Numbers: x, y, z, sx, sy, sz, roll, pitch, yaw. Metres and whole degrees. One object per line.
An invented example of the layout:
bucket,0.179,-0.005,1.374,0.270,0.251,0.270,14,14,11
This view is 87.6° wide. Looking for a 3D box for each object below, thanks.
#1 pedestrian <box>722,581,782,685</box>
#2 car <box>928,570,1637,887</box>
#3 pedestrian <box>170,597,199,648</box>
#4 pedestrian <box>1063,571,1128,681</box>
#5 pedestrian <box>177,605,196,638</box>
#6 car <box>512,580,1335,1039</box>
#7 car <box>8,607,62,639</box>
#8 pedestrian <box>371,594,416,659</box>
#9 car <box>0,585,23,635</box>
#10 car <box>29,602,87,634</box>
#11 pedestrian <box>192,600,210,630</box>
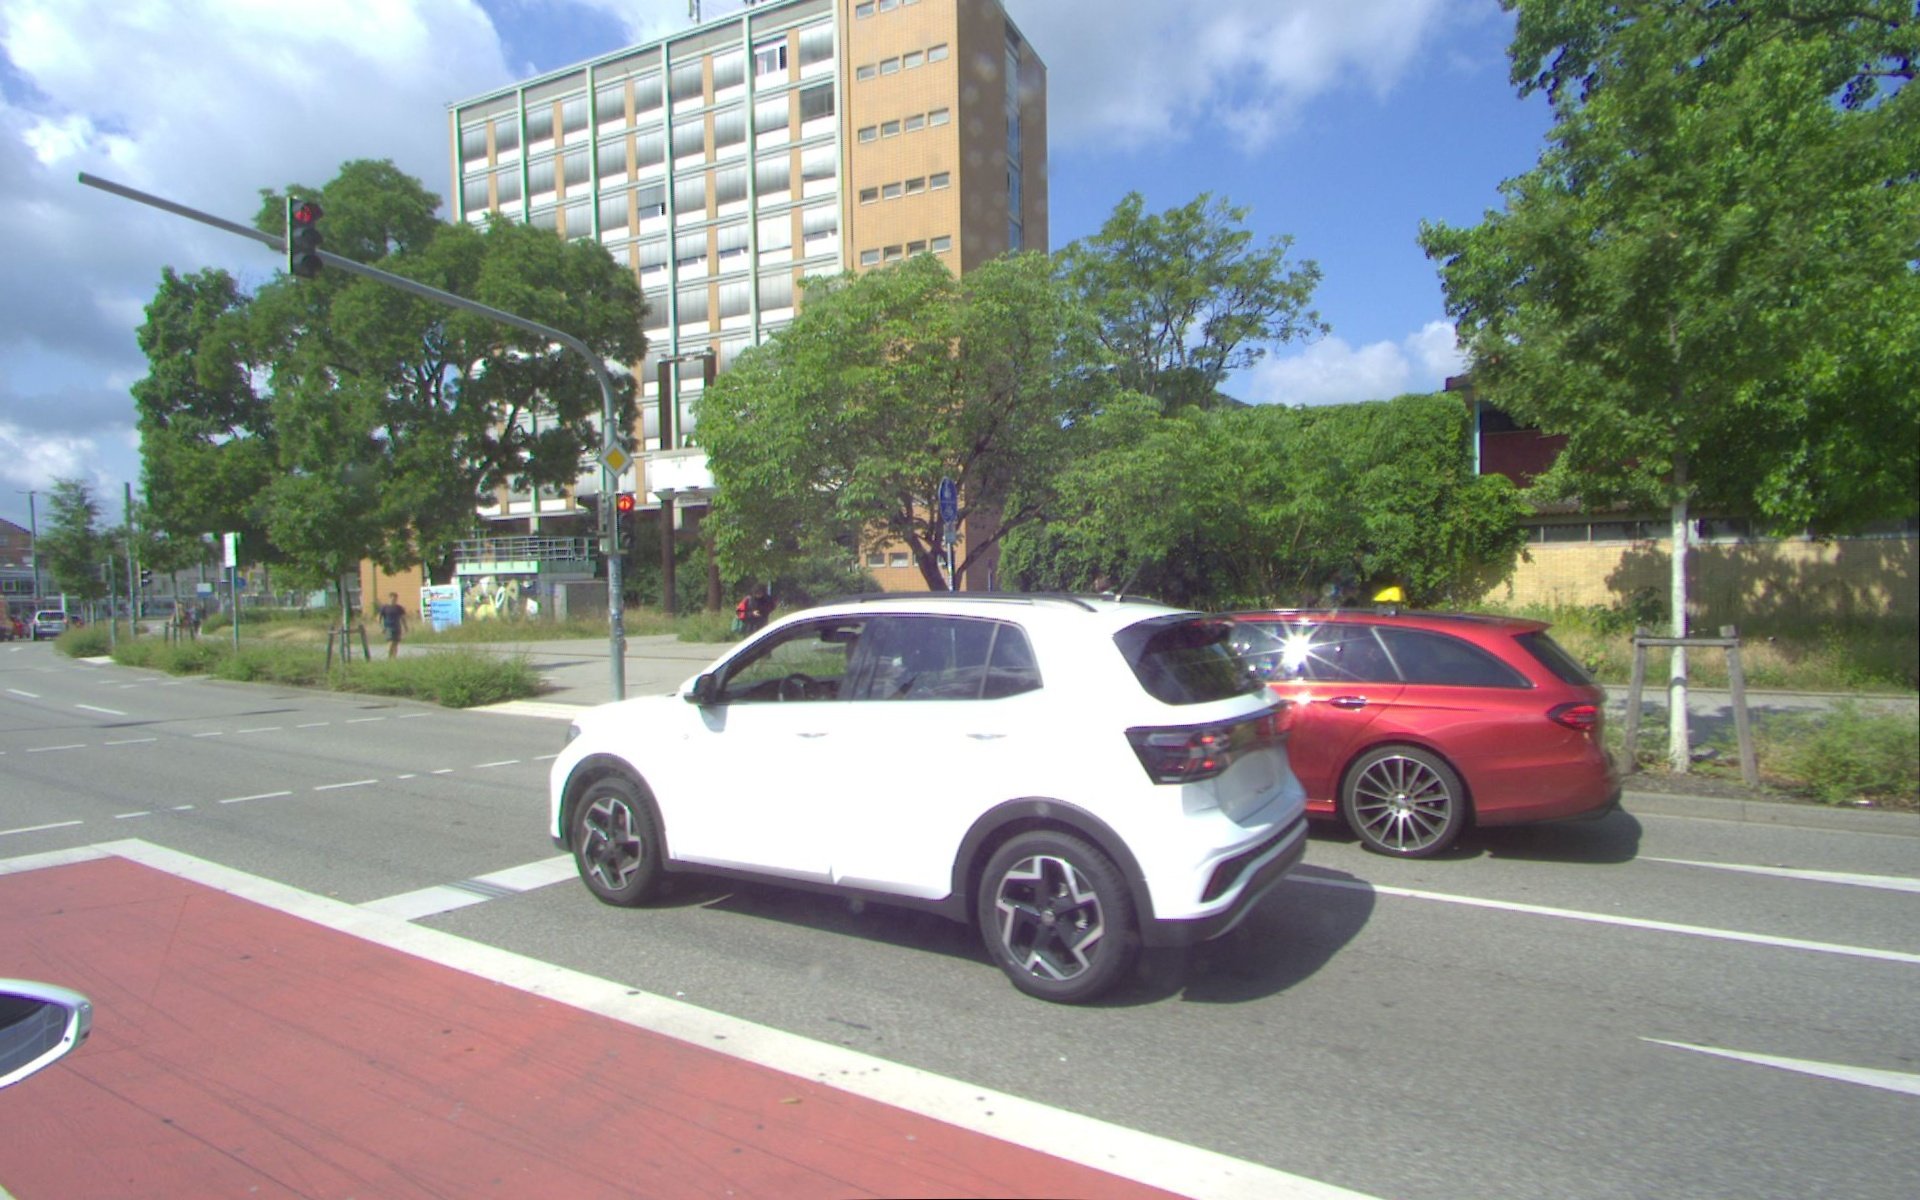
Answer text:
pedestrian,-3.627,0.553,17.450,0.669,1.759,0.740,0,1,34
car,2.069,0.686,7.097,4.396,1.663,1.678,0,0,31
pedestrian,-26.994,0.763,34.856,0.570,1.757,0.657,0,2,38
pedestrian,2.140,0.394,15.731,0.710,1.660,0.866,0,1,32
pedestrian,-43.557,1.215,56.377,0.781,1.808,0.661,-2,2,-39
car,-0.292,0.736,5.196,3.952,1.559,1.788,0,-1,31
car,-60.650,1.479,65.716,1.972,1.965,4.606,-2,1,-35
pedestrian,-13.573,0.621,24.014,0.544,1.528,0.767,0,1,35
car,-56.168,0.616,57.974,2.109,2.818,4.606,-2,1,-35
car,-54.931,1.085,61.051,1.973,1.819,3.974,-2,1,-34
pedestrian,-46.243,0.892,61.006,0.779,1.808,0.663,-1,1,-29
